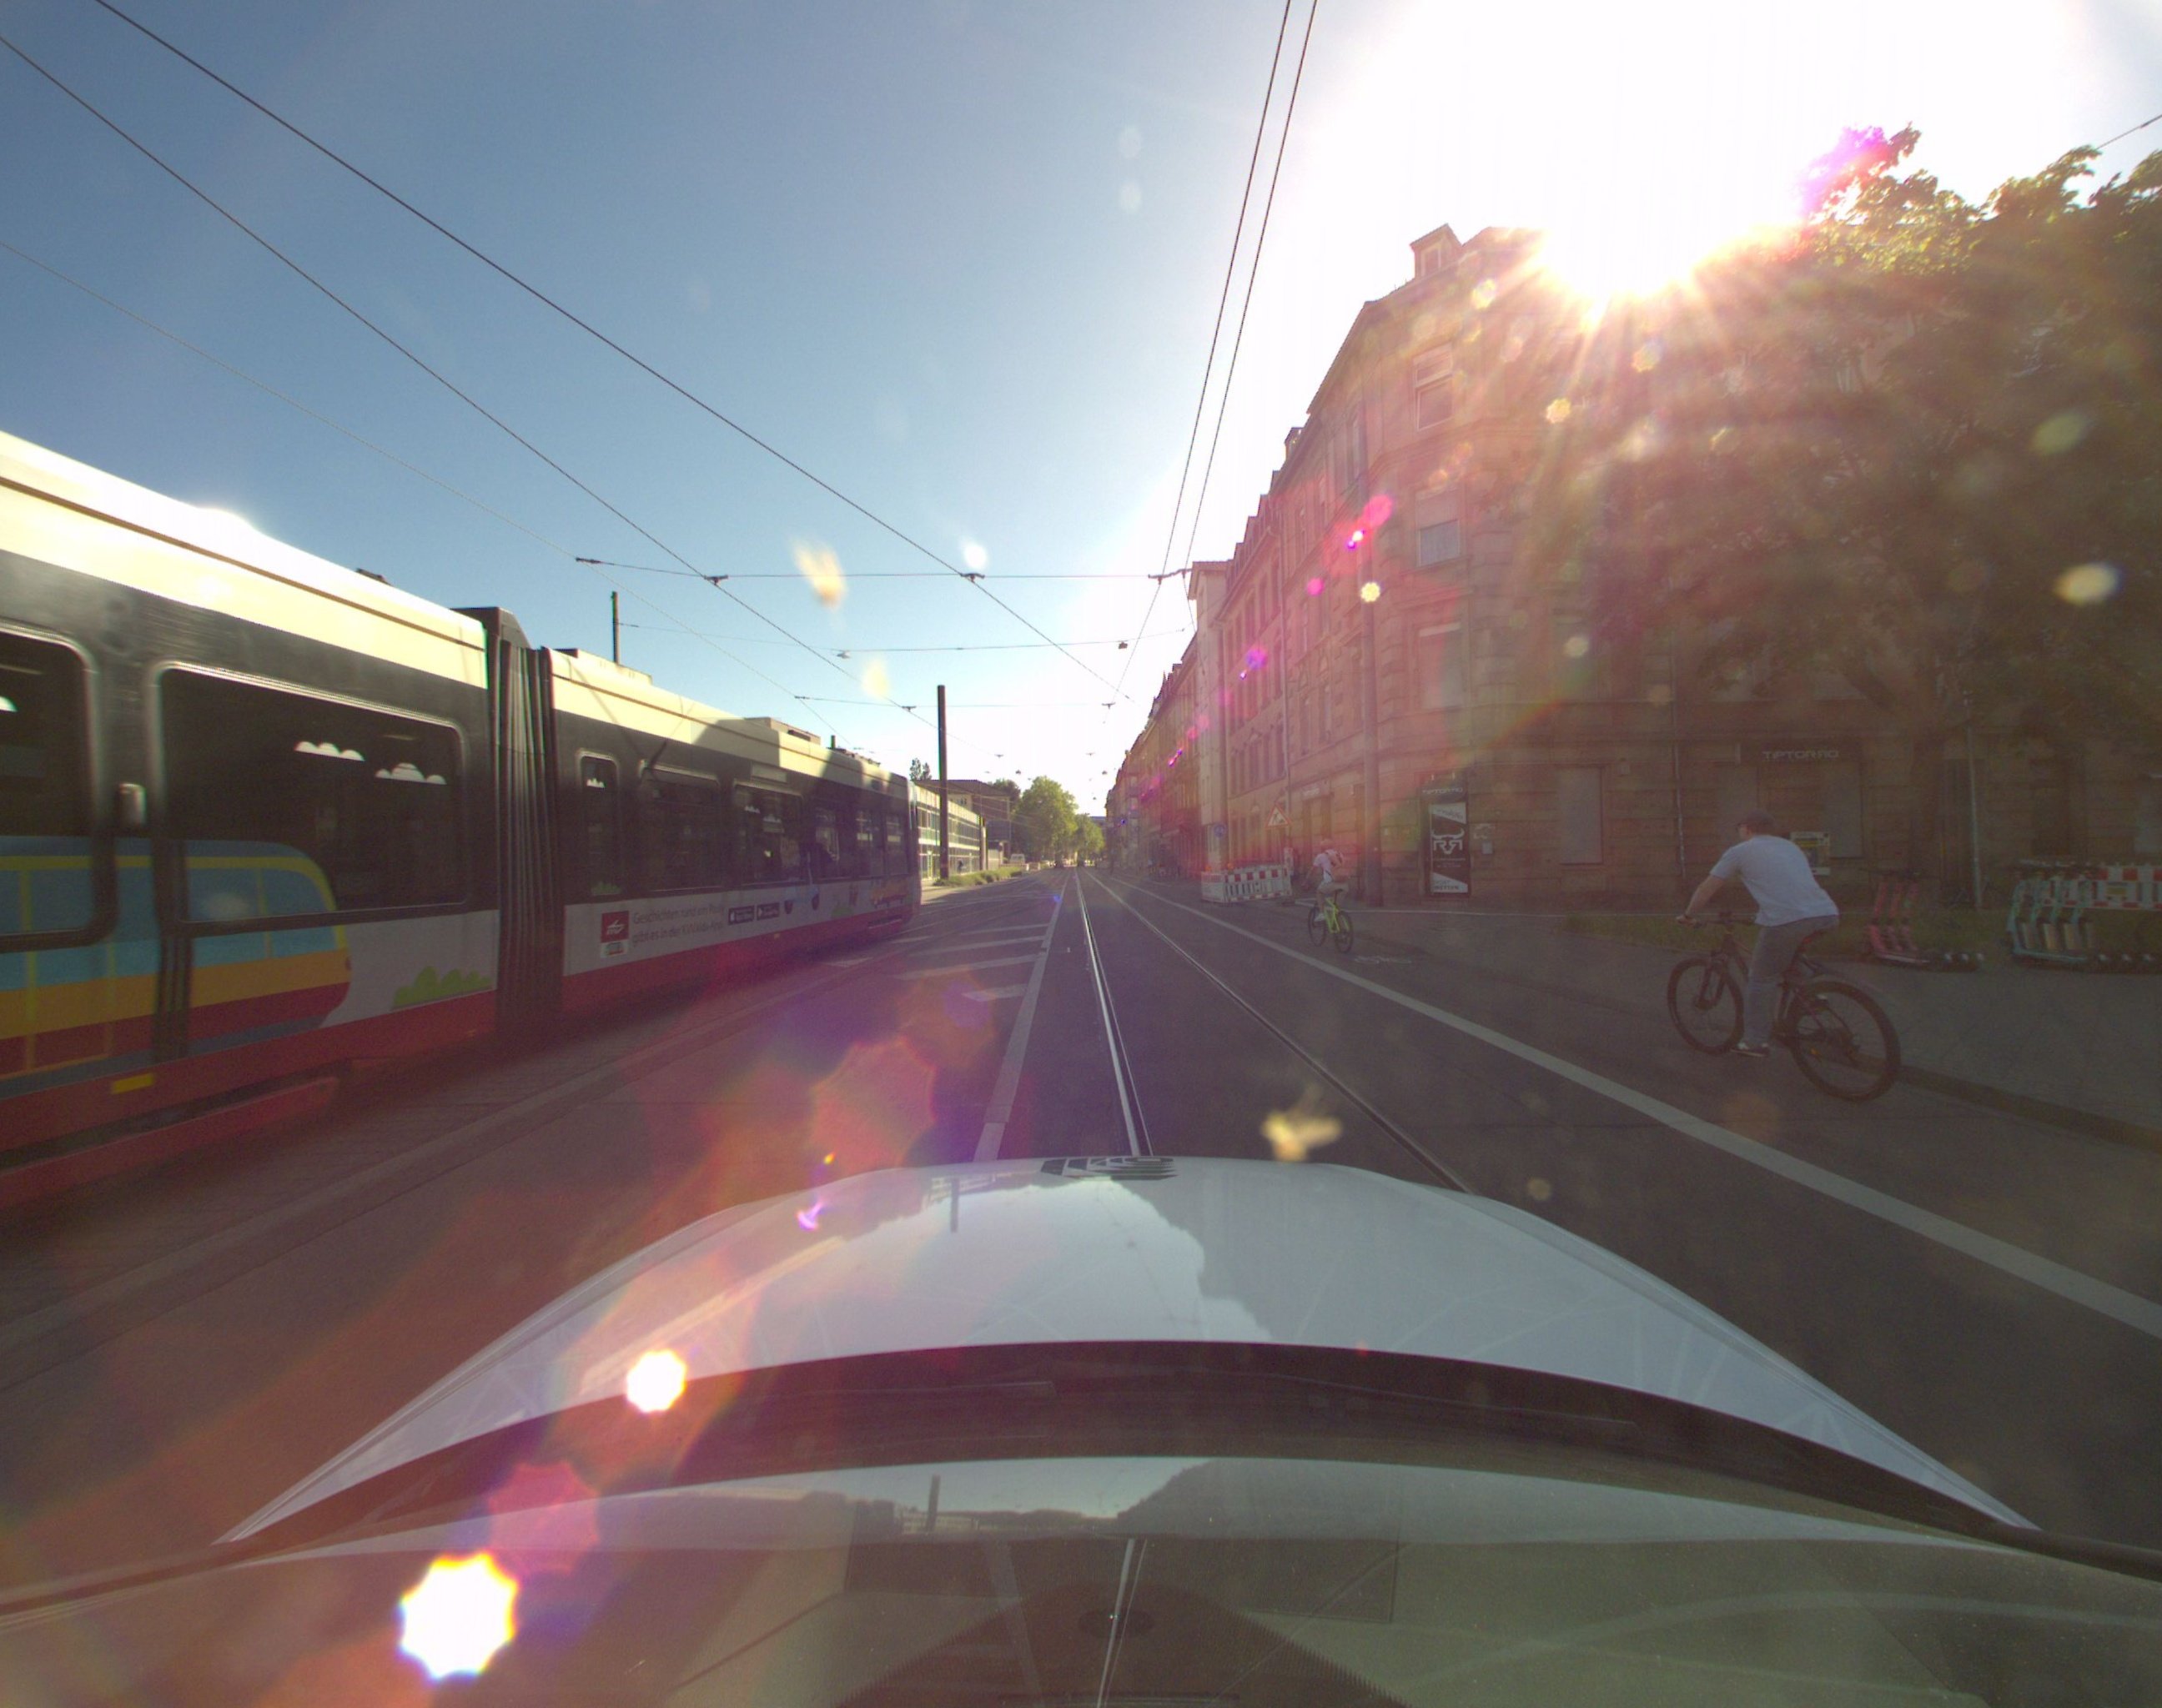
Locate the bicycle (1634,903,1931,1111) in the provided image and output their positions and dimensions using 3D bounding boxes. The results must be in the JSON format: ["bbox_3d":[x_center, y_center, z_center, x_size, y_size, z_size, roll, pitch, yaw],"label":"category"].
[{"bbox_3d":[4.720,0.945,5.683,0.385,1.069,1.933,-1,0,0],"label":"bicycle"}]

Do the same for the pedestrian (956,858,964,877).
[{"bbox_3d":[-11.178,1.235,75.178,0.525,1.765,1.050,1,-1,-1],"label":"pedestrian"}]

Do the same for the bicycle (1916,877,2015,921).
[{"bbox_3d":[17.570,0.888,16.187,1.410,0.856,0.405,0,-1,6],"label":"bicycle"}]

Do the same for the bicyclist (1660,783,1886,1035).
[{"bbox_3d":[4.734,0.350,5.643,0.780,1.593,0.886,-1,-1,0],"label":"bicyclist"}]

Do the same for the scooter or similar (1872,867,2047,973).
[{"bbox_3d":[10.464,0.736,9.785,0.269,1.163,1.703,1,-1,0],"label":"scooter or similar"}]

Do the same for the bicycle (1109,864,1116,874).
[{"bbox_3d":[3.537,1.685,90.844,0.679,1.114,2.706,1,-1,-1],"label":"bicycle"}]

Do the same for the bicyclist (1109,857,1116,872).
[{"bbox_3d":[3.515,1.170,90.561,0.665,1.697,1.042,1,-1,-1],"label":"bicyclist"}]

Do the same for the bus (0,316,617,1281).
[{"bbox_3d":[-5.425,-0.212,1.692,2.832,3.590,10.722,-1,0,0],"label":"bus"}]

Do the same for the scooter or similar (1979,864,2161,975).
[{"bbox_3d":[11.487,0.719,9.515,0.269,1.185,1.564,1,-1,0],"label":"scooter or similar"}]

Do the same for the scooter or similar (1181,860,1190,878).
[{"bbox_3d":[7.432,1.081,57.972,0.405,1.211,1.480,-2,-1,0],"label":"scooter or similar"}]

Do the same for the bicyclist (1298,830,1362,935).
[{"bbox_3d":[4.123,0.466,13.557,0.679,1.683,1.119,1,-1,-3],"label":"bicyclist"}]

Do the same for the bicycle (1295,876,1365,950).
[{"bbox_3d":[4.149,0.948,13.691,0.530,1.117,1.932,1,-1,-2],"label":"bicycle"}]

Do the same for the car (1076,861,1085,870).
[{"bbox_3d":[-0.195,2.679,182.782,1.987,2.014,3.999,1,-1,0],"label":"car"}]

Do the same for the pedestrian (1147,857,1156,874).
[{"bbox_3d":[6.623,1.072,76.622,0.795,1.605,0.652,-1,-1,1],"label":"pedestrian"}]

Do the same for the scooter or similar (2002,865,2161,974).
[{"bbox_3d":[11.803,0.722,9.530,0.269,1.185,1.564,1,-1,0],"label":"scooter or similar"}]

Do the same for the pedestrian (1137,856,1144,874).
[{"bbox_3d":[5.914,1.077,80.922,0.550,1.701,0.474,-3,-1,5],"label":"pedestrian"}]

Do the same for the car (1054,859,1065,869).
[{"bbox_3d":[-3.887,1.801,145.907,1.753,1.697,4.143,1,-1,1],"label":"car"}]

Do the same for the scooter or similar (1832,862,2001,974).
[{"bbox_3d":[9.883,0.712,9.720,0.269,1.219,1.703,1,-1,0],"label":"scooter or similar"}]

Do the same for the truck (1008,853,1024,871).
[{"bbox_3d":[-10.743,1.332,134.519,2.533,2.830,6.366,1,-1,-4],"label":"truck"}]

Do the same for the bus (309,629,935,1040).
[{"bbox_3d":[-5.079,-0.122,12.801,2.828,3.590,11.281,-1,0,4],"label":"bus"}]

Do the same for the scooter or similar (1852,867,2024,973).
[{"bbox_3d":[10.177,0.740,9.756,0.269,1.157,1.703,1,-1,0],"label":"scooter or similar"}]

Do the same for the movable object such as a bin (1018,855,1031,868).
[{"bbox_3d":[-11.473,1.472,165.535,2.489,2.645,5.982,1,-1,-3],"label":"movable object such as a bin"}]

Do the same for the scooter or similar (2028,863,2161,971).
[{"bbox_3d":[12.133,0.708,9.528,0.269,1.196,1.564,1,-1,0],"label":"scooter or similar"}]

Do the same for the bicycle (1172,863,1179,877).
[{"bbox_3d":[7.455,1.257,64.075,0.408,1.121,1.899,-3,-1,4],"label":"bicycle"}]
